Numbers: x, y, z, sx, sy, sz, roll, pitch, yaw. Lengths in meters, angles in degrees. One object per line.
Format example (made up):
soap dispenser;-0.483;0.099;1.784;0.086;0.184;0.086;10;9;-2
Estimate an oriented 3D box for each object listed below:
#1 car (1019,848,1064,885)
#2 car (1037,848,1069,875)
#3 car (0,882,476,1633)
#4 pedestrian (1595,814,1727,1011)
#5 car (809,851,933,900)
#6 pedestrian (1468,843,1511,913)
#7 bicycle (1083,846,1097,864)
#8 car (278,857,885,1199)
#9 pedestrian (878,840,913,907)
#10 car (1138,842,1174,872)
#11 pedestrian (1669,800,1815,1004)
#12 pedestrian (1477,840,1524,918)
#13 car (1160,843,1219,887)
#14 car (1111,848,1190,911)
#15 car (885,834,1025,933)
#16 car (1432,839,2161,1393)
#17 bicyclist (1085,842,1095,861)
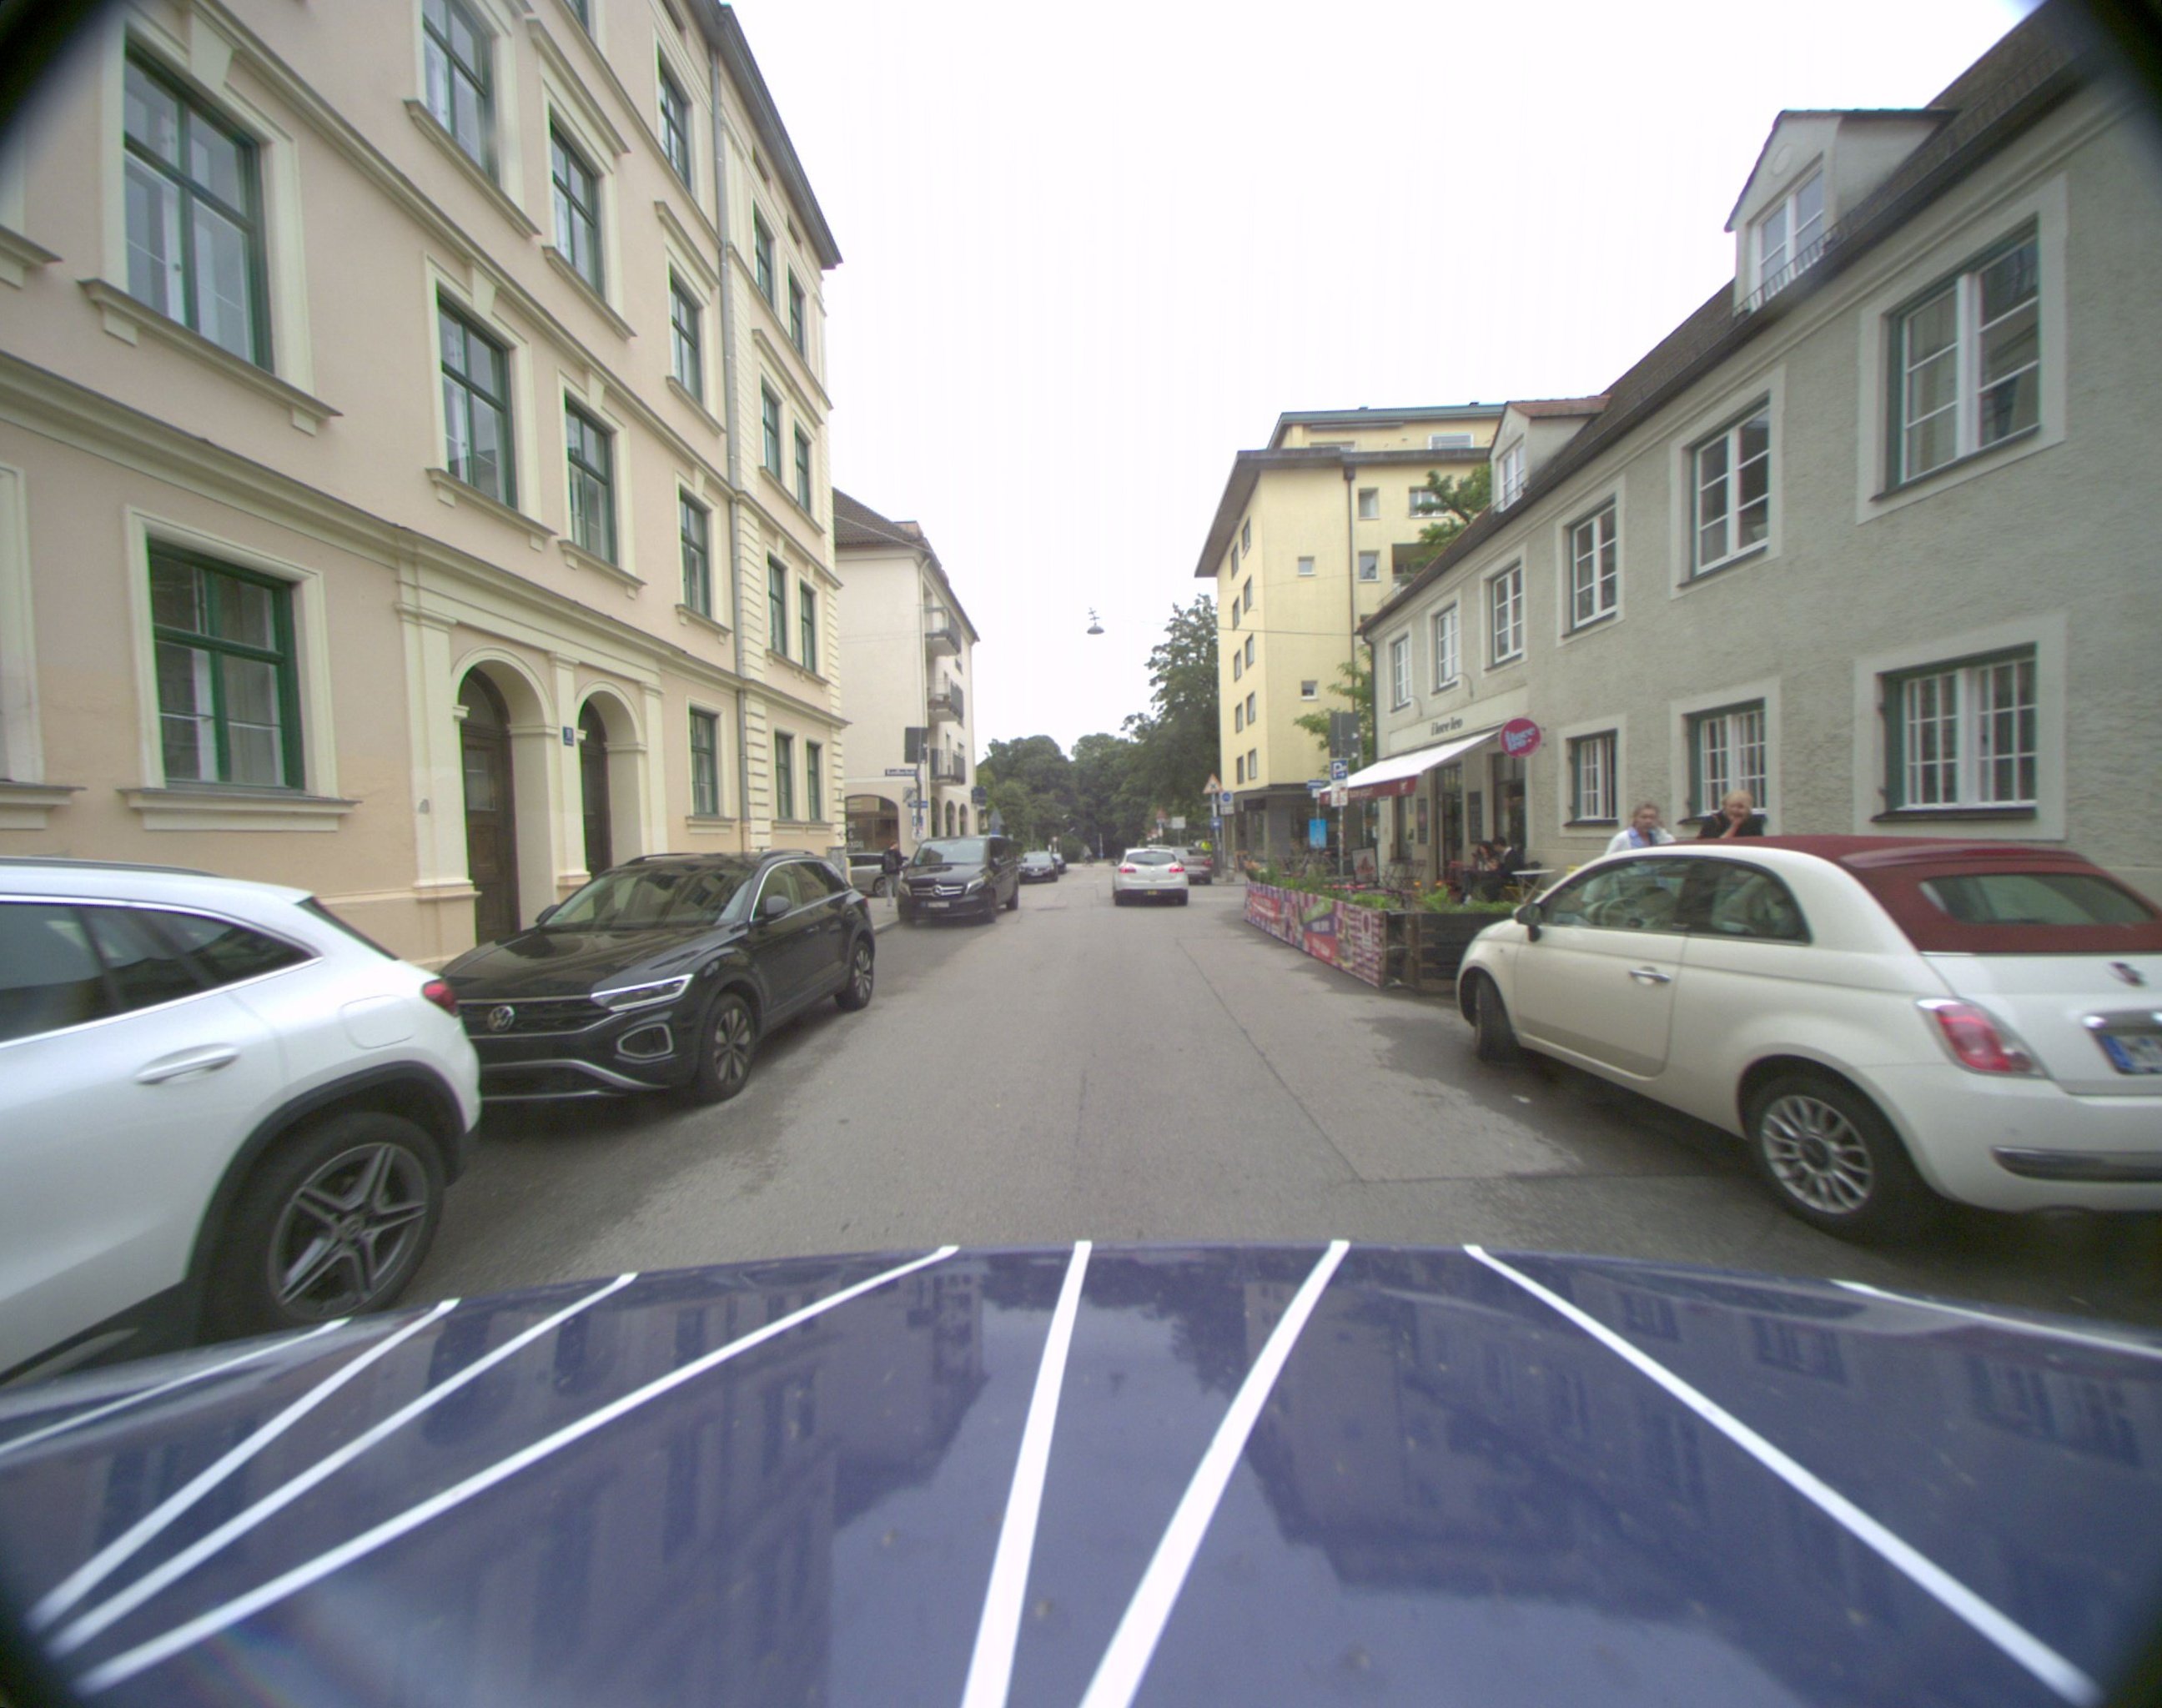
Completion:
car;-1.742;0.514;34.685;1.711;1.491;3.999;-2;1;1
car;-1.746;0.448;48.050;1.711;1.491;3.999;-2;1;1
car;-3.284;0.975;0.815;1.721;1.592;4.322;-2;1;0
pedestrian;4.956;0.472;6.528;0.614;1.589;0.662;-2;2;-2
car;-7.535;0.753;27.538;3.997;1.557;1.712;-2;1;-1
pedestrian;7.274;0.417;13.555;0.509;1.206;0.595;-3;0;16
bicycle;0.741;0.096;61.226;0.689;1.371;2.399;-2;1;8
car;-3.001;0.881;5.817;1.721;1.557;4.142;-2;1;2
pedestrian;-5.135;0.520;21.059;0.698;1.792;0.730;-2;2;1
car;4.228;0.138;43.193;1.711;1.550;3.999;-2;1;1
pedestrian;5.842;0.396;6.759;0.582;1.689;0.806;-2;2;-2
pedestrian;7.032;0.410;12.763;0.523;1.258;0.548;-3;0;16
car;4.076;0.371;29.097;1.711;1.491;3.999;-2;1;1
car;1.713;0.593;19.936;1.793;1.409;3.904;-1;1;1
car;-2.629;0.523;17.233;1.998;1.850;5.114;-2;1;3
car;3.411;0.712;3.866;1.573;1.506;3.422;-3;1;-1
bicyclist;0.716;-0.230;61.059;0.650;1.466;0.767;-2;2;7
